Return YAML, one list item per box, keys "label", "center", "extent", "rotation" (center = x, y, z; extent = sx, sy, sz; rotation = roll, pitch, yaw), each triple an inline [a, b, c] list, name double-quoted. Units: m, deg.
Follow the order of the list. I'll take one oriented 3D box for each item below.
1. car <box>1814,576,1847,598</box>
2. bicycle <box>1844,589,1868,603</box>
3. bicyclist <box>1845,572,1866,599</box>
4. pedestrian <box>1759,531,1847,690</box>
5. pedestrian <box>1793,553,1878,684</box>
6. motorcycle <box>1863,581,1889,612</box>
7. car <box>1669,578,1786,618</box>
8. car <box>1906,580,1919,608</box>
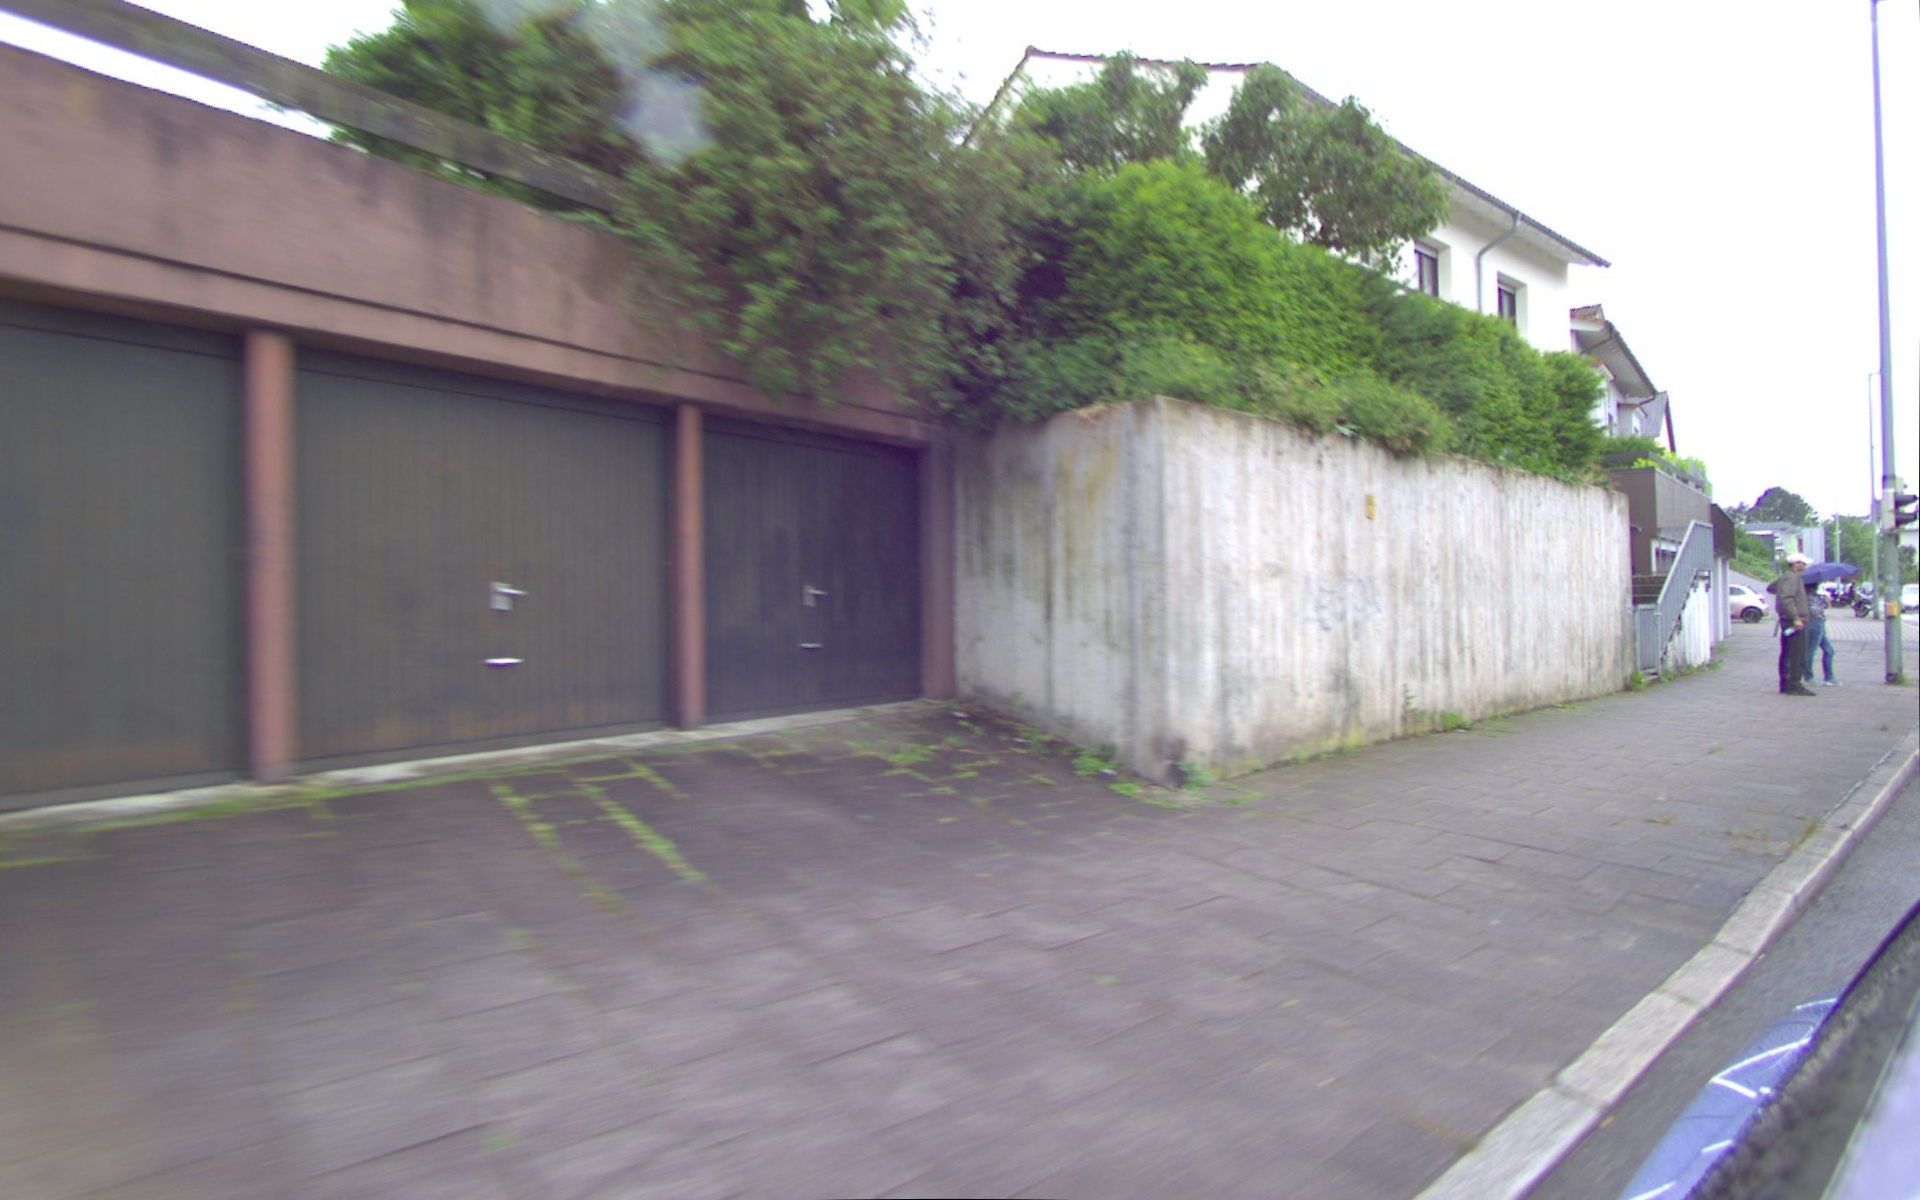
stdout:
- label: "car"
  center: [61.464, -0.970, 71.463]
  extent: [1.731, 1.508, 3.941]
  rotation: [1, 1, 41]
- label: "bicycle"
  center: [54.389, -0.259, 61.421]
  extent: [2.194, 0.837, 0.733]
  rotation: [-1, 1, -40]
- label: "bicyclist"
  center: [54.271, -0.887, 61.343]
  extent: [0.890, 1.663, 0.809]
  rotation: [-1, 1, -40]
- label: "pedestrian"
  center: [11.247, 0.129, 13.507]
  extent: [0.722, 2.039, 0.798]
  rotation: [-1, 0, -42]
- label: "pedestrian"
  center: [12.614, 0.232, 14.585]
  extent: [0.994, 1.802, 0.795]
  rotation: [-1, 2, -42]
- label: "motorcycle"
  center: [40.370, -0.172, 44.622]
  extent: [0.691, 1.341, 2.444]
  rotation: [1, 1, 39]
- label: "car"
  center: [30.384, -0.083, 40.187]
  extent: [3.622, 1.504, 1.789]
  rotation: [-1, 0, 37]
- label: "car"
  center: [52.185, -0.303, 54.213]
  extent: [1.832, 1.500, 3.944]
  rotation: [1, 0, 38]
